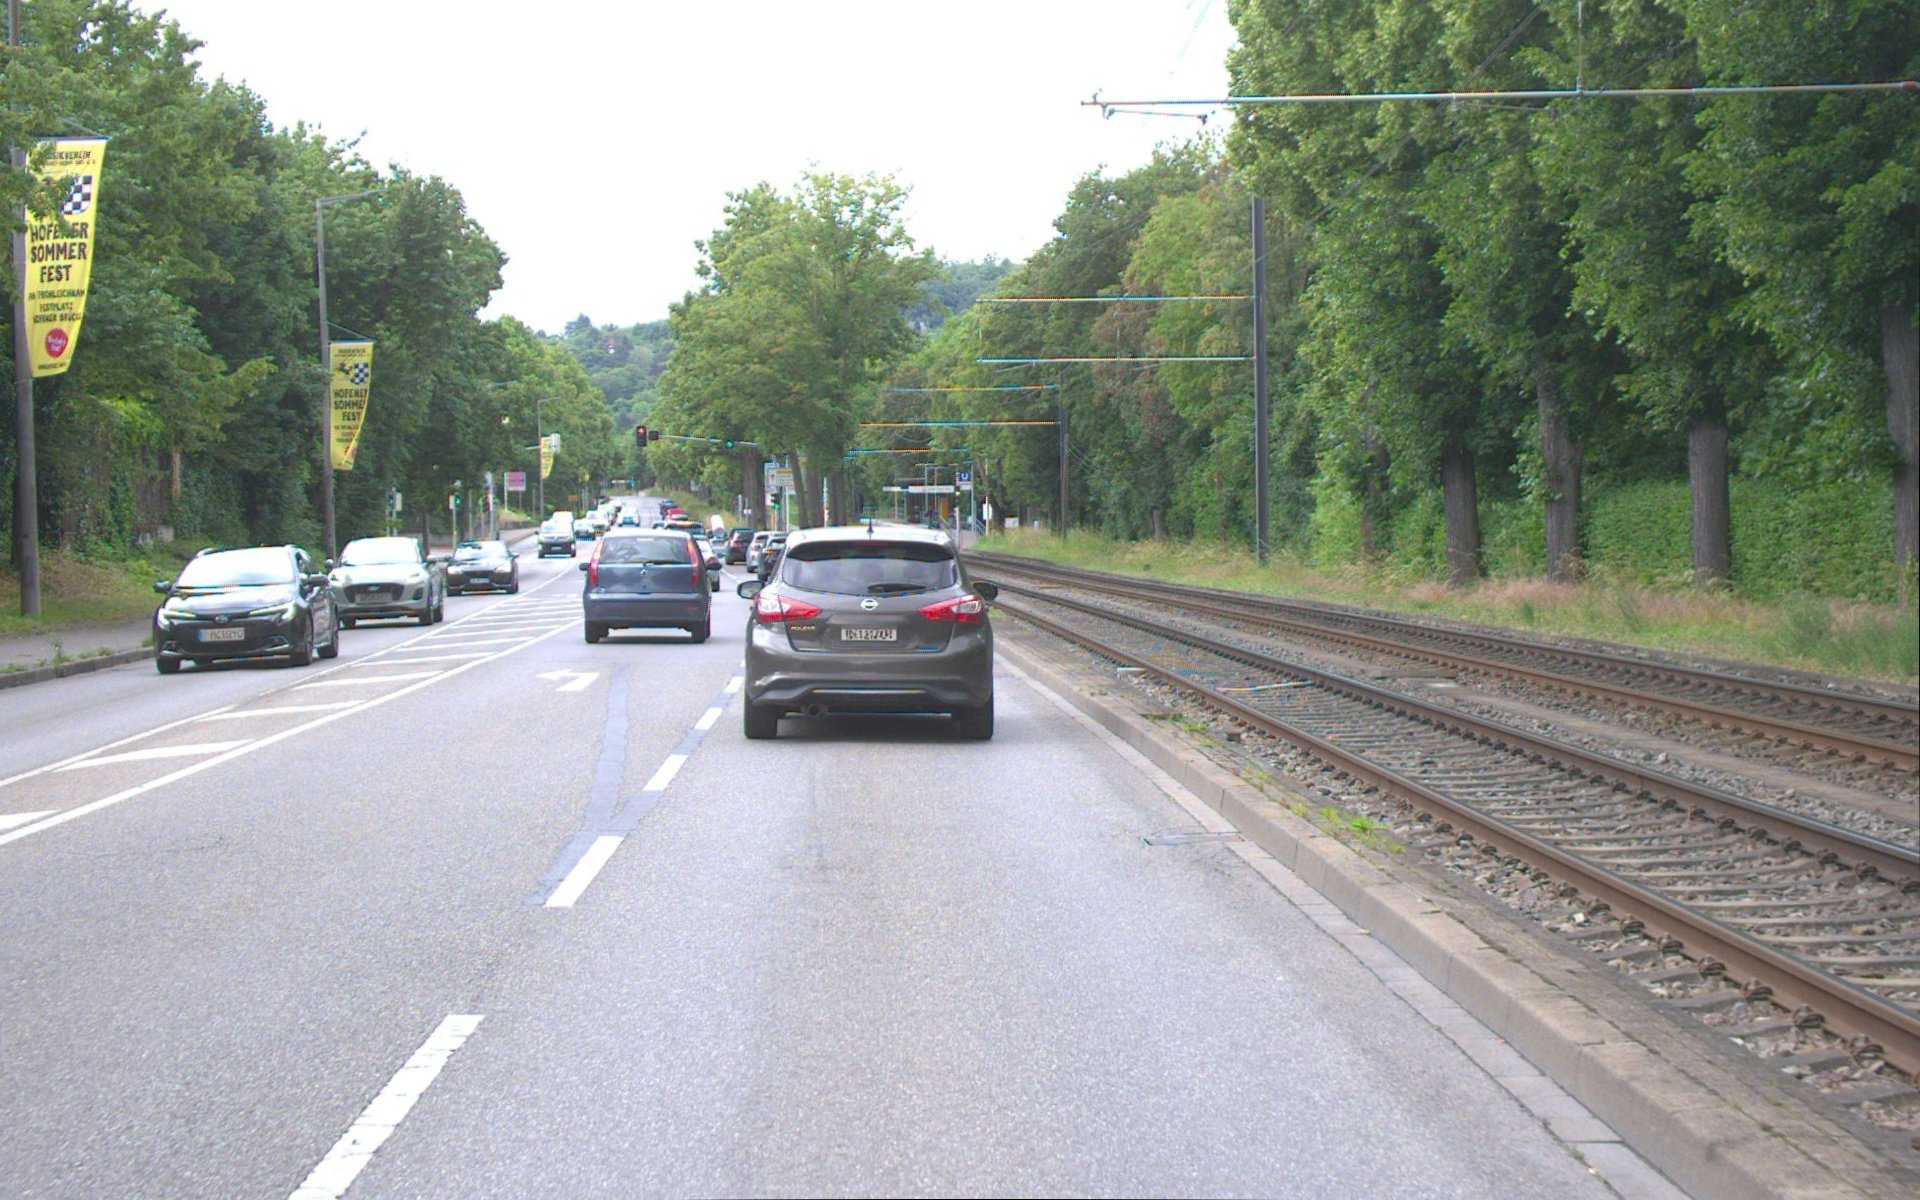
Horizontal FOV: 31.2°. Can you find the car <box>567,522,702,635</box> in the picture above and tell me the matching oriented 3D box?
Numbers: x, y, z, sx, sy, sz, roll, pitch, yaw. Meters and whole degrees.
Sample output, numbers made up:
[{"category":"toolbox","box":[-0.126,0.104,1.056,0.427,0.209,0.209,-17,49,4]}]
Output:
[{"category":"car","box":[-4.317,-0.321,46.022,1.699,1.438,4.001,0,1,-4]}]

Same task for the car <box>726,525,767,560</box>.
[{"category":"car","box":[-9.635,-2.575,155.409,1.715,1.545,4.000,0,1,-2]}]

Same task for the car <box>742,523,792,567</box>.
[{"category":"car","box":[-6.911,-1.978,123.577,1.715,1.545,4.000,0,1,-2]}]

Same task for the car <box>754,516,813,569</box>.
[{"category":"car","box":[-5.314,-1.728,104.015,1.715,1.545,4.000,0,1,-2]}]

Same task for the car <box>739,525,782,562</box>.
[{"category":"car","box":[-8.377,-2.384,144.831,1.715,1.545,4.000,0,1,-2]}]

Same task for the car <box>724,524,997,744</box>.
[{"category":"car","box":[-0.720,0.188,25.489,1.850,1.488,4.000,1,1,-1]}]

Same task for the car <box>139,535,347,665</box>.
[{"category":"car","box":[-8.530,-0.039,41.213,1.766,1.395,4.216,-3,1,-3]}]

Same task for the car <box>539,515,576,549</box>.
[{"category":"car","box":[-20.670,-3.481,176.541,1.715,1.754,4.001,0,1,-4]}]

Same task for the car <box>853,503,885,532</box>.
[{"category":"car","box":[-5.402,-4.877,203.555,1.715,1.657,3.708,0,1,-4]}]

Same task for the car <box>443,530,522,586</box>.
[{"category":"car","box":[-12.633,-1.140,91.114,1.841,1.371,4.449,-3,1,-6]}]

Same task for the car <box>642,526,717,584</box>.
[{"category":"car","box":[-7.138,-1.156,87.661,1.715,1.430,4.001,0,1,-2]}]

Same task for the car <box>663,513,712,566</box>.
[{"category":"car","box":[-9.773,-2.165,123.247,1.715,1.857,4.001,0,1,-4]}]

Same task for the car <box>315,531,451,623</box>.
[{"category":"car","box":[-9.888,-0.421,59.173,1.826,1.452,4.143,-3,1,-4]}]
